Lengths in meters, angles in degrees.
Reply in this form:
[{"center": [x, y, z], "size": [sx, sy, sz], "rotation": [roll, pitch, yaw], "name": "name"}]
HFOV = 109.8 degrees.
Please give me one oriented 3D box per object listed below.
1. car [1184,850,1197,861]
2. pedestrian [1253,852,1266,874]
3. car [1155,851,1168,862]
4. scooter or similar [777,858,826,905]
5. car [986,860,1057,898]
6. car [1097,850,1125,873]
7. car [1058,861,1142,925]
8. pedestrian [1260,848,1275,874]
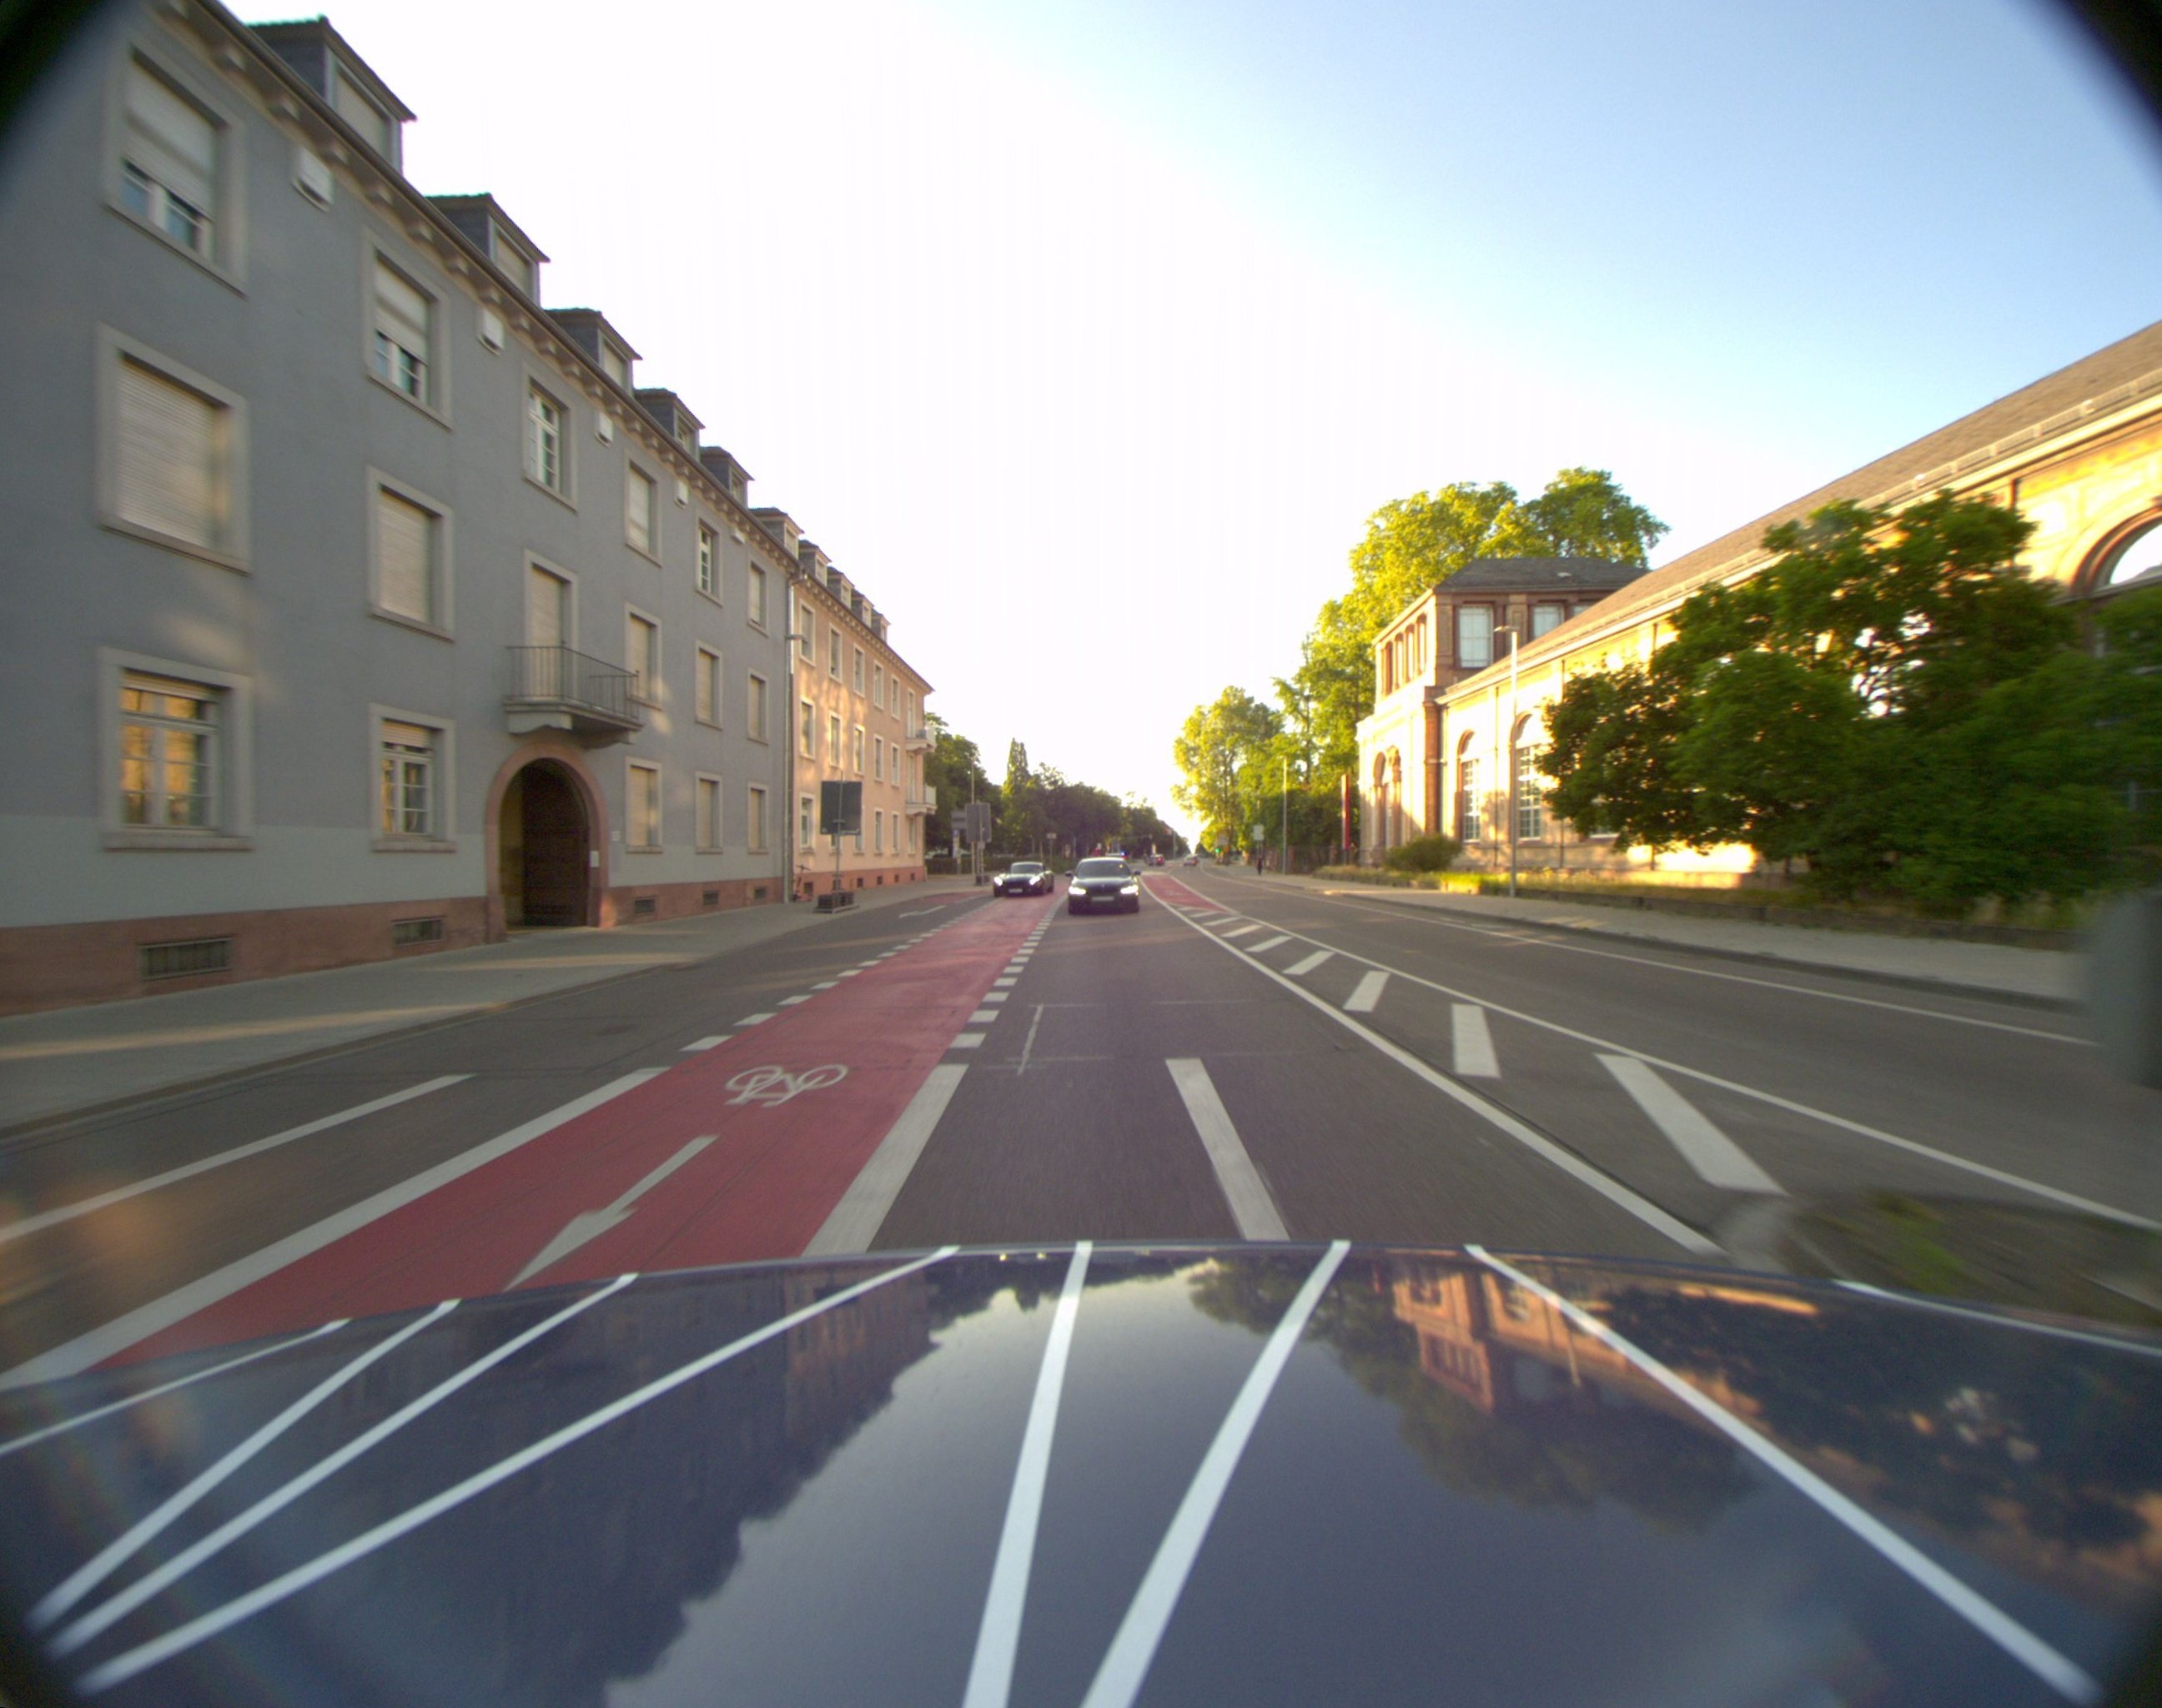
[{"center": [16.330, 0.239, 113.067], "size": [1.919, 1.674, 4.002], "rotation": [0, 0, 8], "name": "car"}, {"center": [12.475, 0.615, 53.022], "size": [0.675, 1.504, 0.836], "rotation": [-4, -1, 4], "name": "pedestrian"}, {"center": [11.206, 0.280, 106.013], "size": [1.775, 1.455, 4.001], "rotation": [1, 1, 5], "name": "car"}, {"center": [-9.171, 0.875, 25.002], "size": [0.726, 1.450, 1.673], "rotation": [2, 1, 11], "name": "scooter or similar"}, {"center": [-2.295, 0.939, 30.539], "size": [2.183, 1.293, 4.358], "rotation": [-2, 0, 4], "name": "car"}, {"center": [2.364, 0.568, 61.144], "size": [1.839, 1.674, 4.221], "rotation": [-2, 1, -3], "name": "car"}, {"center": [0.578, 0.950, 20.382], "size": [1.963, 1.379, 4.781], "rotation": [0, 1, 3], "name": "car"}, {"center": [12.959, 0.480, 52.769], "size": [0.807, 1.728, 0.851], "rotation": [0, 1, 25], "name": "pedestrian"}]
